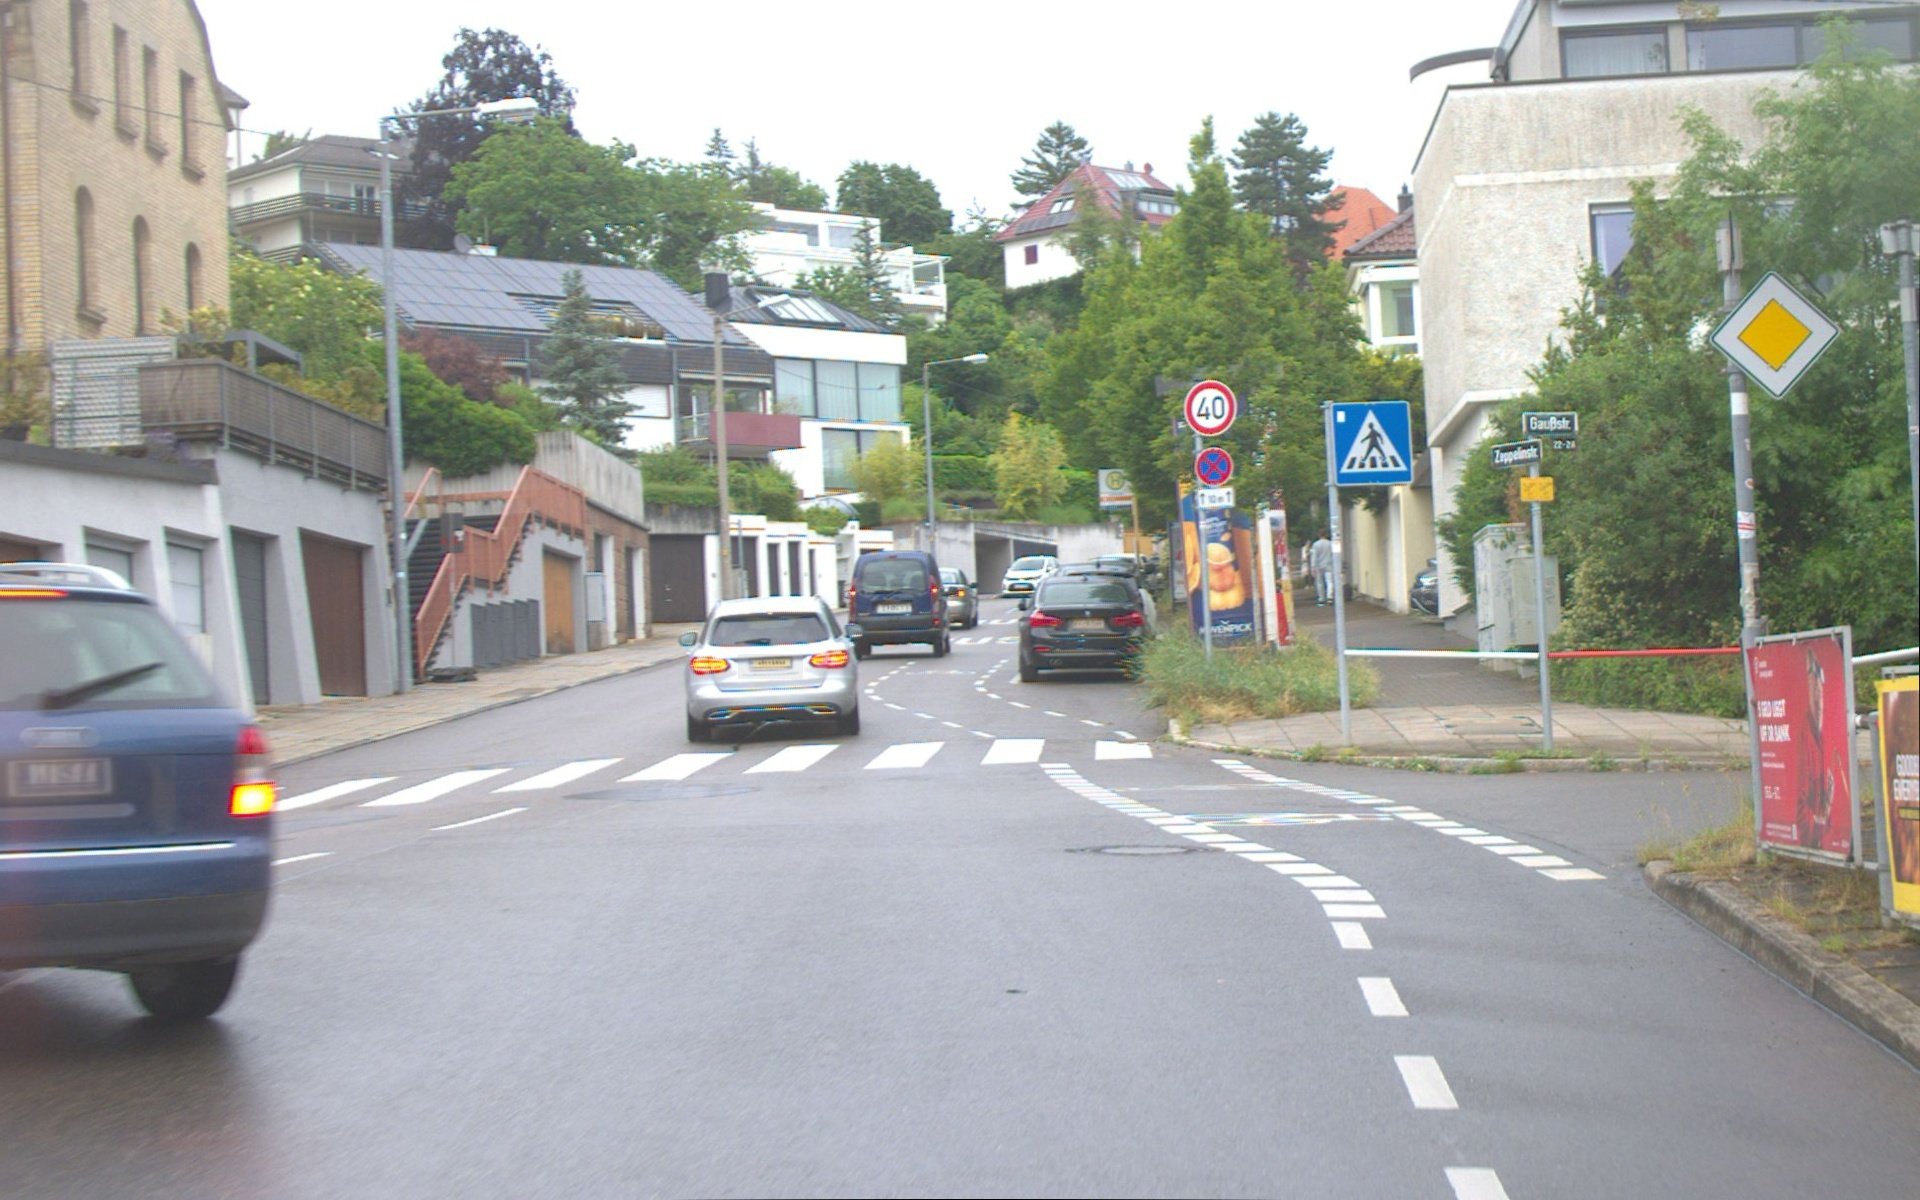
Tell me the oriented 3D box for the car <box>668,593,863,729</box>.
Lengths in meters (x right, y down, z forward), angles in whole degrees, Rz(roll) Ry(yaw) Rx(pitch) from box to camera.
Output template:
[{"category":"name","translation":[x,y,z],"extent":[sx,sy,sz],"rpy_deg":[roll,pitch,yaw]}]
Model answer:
[{"category":"car","translation":[-2.111,0.670,36.379],"extent":[1.811,1.356,4.000],"rpy_deg":[0,-2,-7]}]

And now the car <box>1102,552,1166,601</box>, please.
[{"category":"car","translation":[4.780,-0.651,93.960],"extent":[1.469,1.250,3.581],"rpy_deg":[-2,1,7]}]

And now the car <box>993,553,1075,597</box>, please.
[{"category":"car","translation":[2.726,-0.926,126.733],"extent":[1.730,1.601,3.544],"rpy_deg":[-1,0,25]}]

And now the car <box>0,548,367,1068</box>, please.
[{"category":"car","translation":[-3.706,0.602,11.259],"extent":[1.811,1.434,4.080],"rpy_deg":[2,-2,-36]}]

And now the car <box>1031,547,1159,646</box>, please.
[{"category":"car","translation":[2.067,-0.075,53.535],"extent":[1.715,1.445,3.833],"rpy_deg":[-2,1,-1]}]

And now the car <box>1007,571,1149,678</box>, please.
[{"category":"car","translation":[1.615,0.313,48.303],"extent":[1.771,1.373,4.349],"rpy_deg":[-2,1,0]}]

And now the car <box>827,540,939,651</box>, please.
[{"category":"car","translation":[-1.373,-0.106,59.727],"extent":[1.824,1.813,4.000],"rpy_deg":[-2,1,-2]}]

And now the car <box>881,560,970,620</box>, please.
[{"category":"car","translation":[-0.778,-0.258,79.238],"extent":[1.824,1.292,4.000],"rpy_deg":[-2,1,2]}]

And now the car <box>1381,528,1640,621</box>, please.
[{"category":"car","translation":[9.104,-0.417,56.808],"extent":[3.990,1.410,1.724],"rpy_deg":[-1,0,18]}]

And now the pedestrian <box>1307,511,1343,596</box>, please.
[{"category":"pedestrian","translation":[7.842,-1.003,73.884],"extent":[0.638,1.789,0.744],"rpy_deg":[-2,1,0]}]
